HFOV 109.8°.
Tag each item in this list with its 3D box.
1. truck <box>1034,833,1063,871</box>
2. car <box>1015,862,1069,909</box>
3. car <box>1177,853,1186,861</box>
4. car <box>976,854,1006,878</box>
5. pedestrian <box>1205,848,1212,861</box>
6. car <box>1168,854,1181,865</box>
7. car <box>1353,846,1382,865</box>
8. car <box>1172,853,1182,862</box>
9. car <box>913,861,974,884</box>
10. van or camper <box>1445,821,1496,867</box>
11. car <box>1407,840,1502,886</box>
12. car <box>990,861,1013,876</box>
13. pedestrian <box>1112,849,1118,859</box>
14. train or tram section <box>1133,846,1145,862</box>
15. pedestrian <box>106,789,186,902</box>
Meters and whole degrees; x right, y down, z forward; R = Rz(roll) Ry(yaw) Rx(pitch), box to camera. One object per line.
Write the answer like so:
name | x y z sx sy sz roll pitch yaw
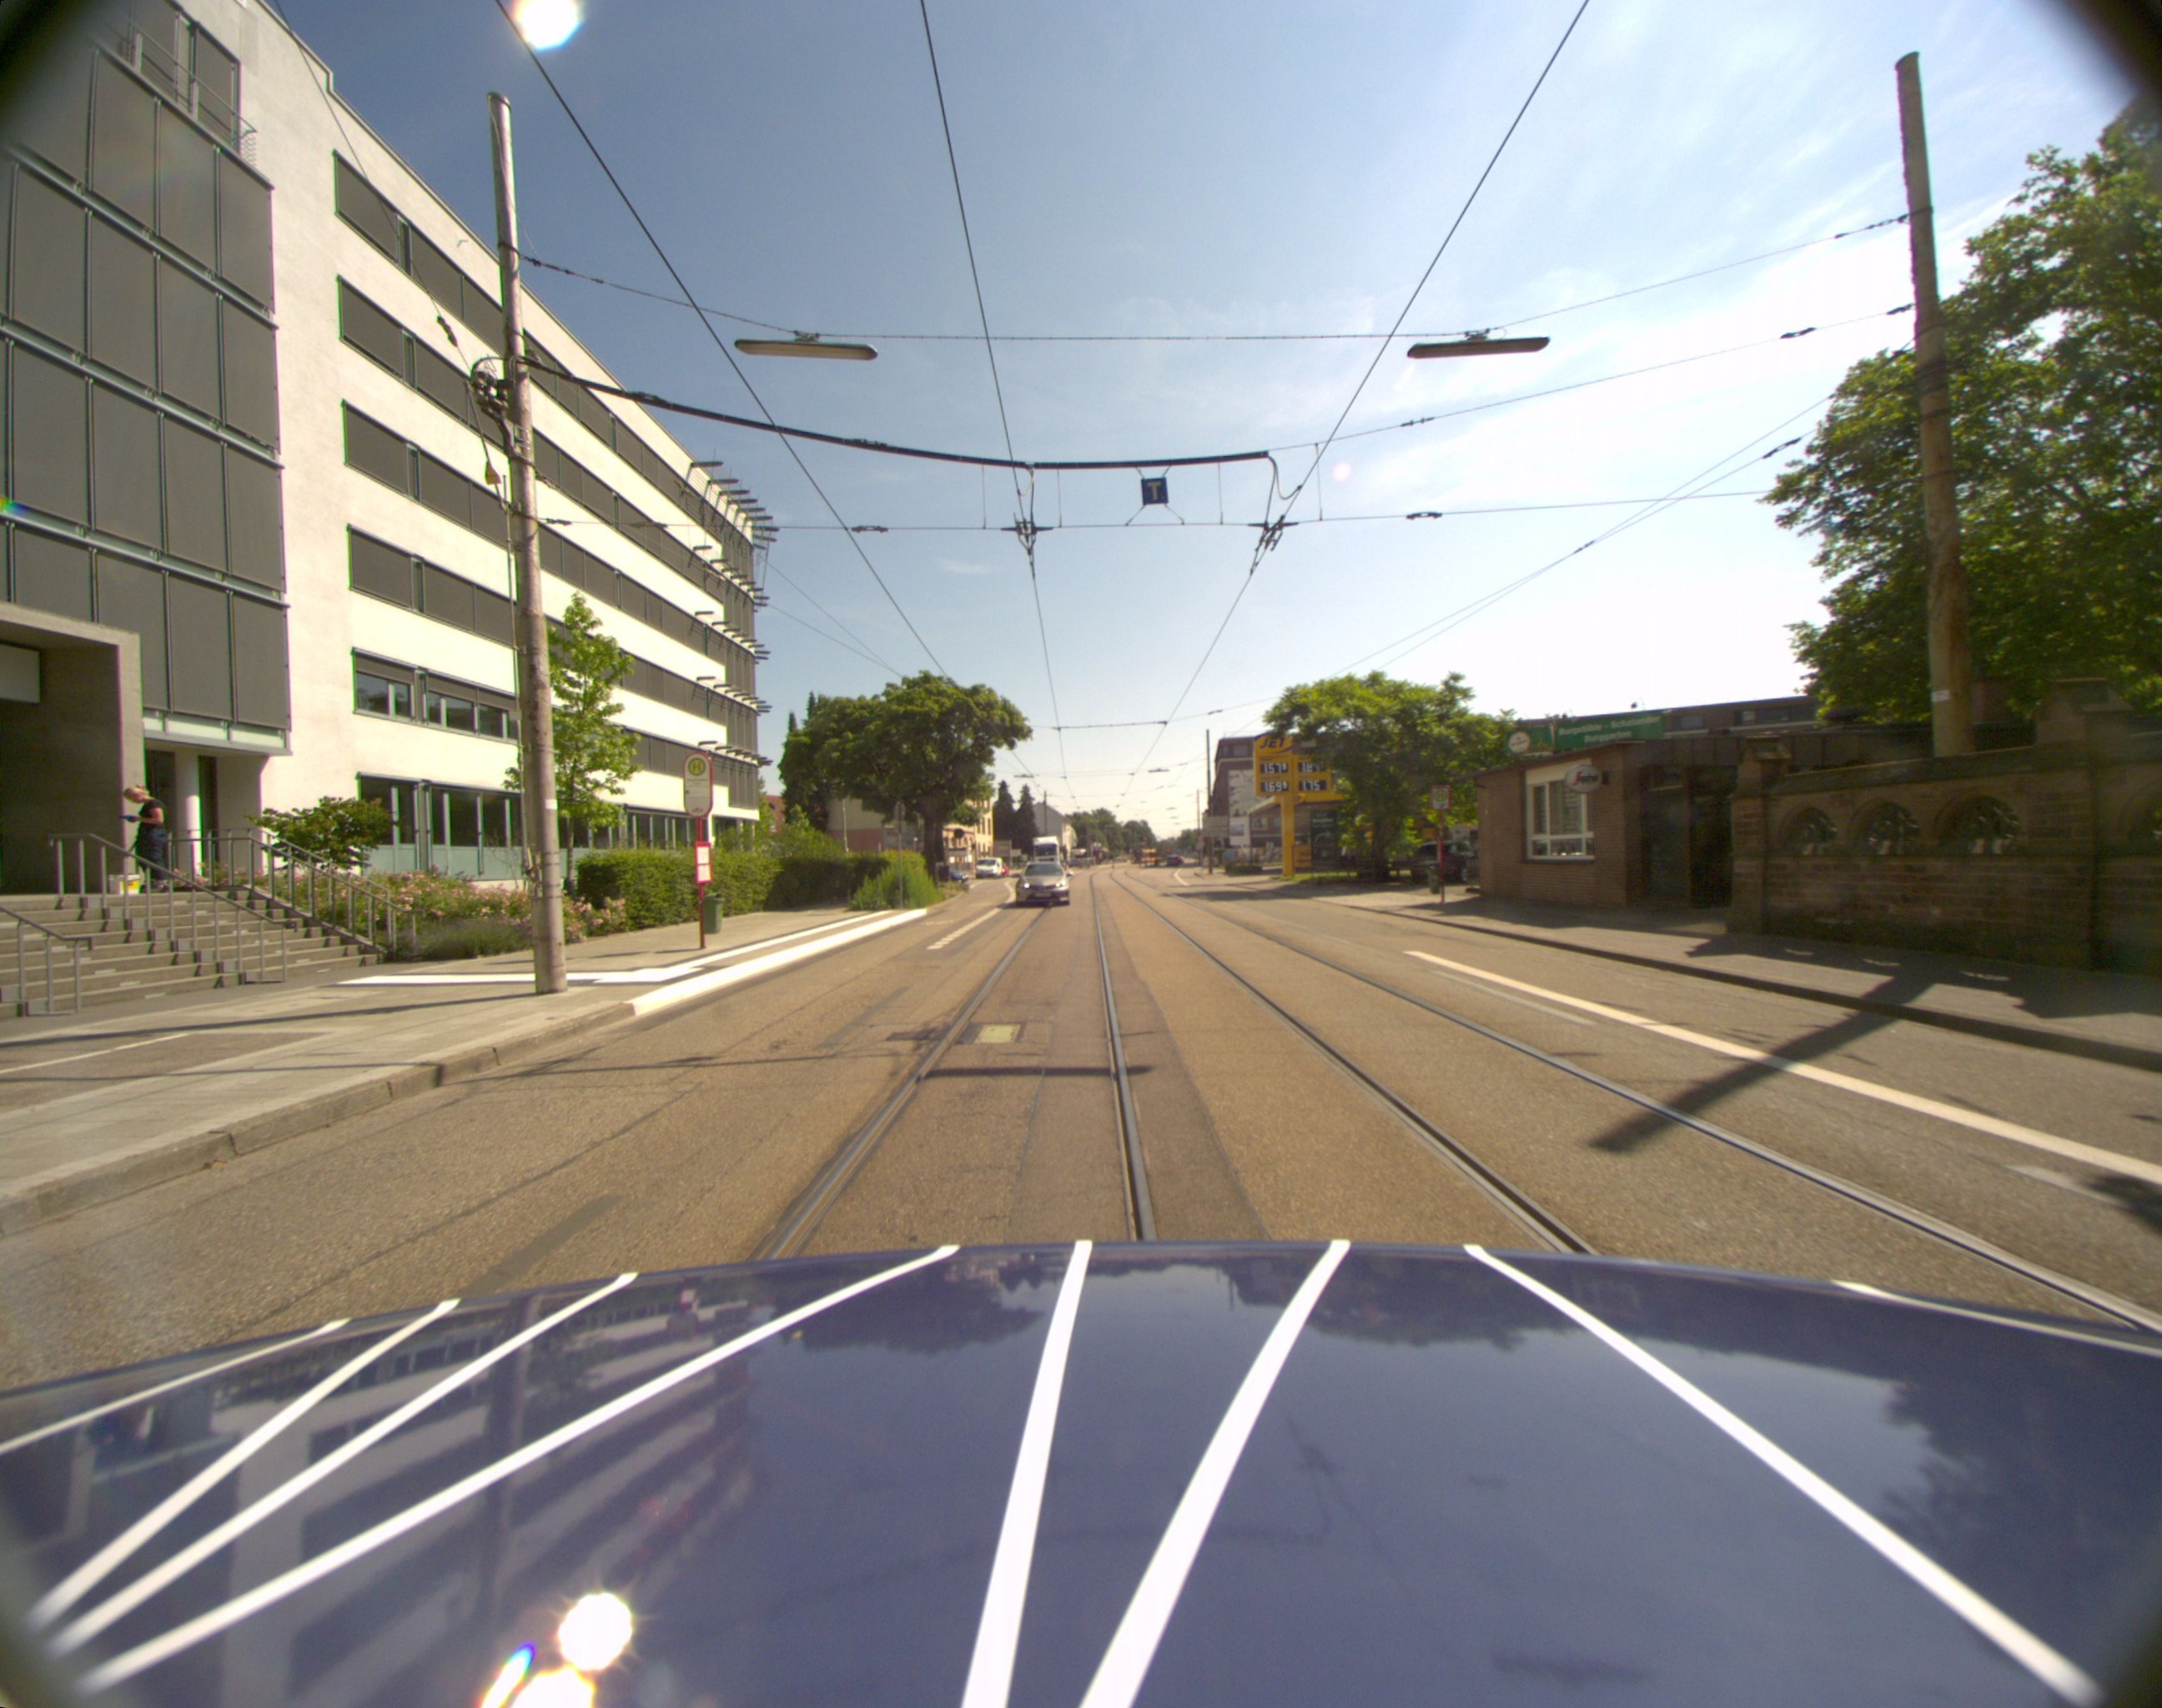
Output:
truck | -3.303 -0.178 79.288 2.657 3.772 7.863 -2 0 0
car | -1.270 1.018 26.092 1.695 1.440 4.480 0 0 -1
car | 20.863 0.596 157.190 1.715 1.613 3.581 -3 0 9
car | -8.039 1.043 68.372 1.981 2.043 5.191 0 0 2
pedestrian | 18.401 0.070 109.543 0.846 1.808 0.839 -2 0 9
car | 14.019 0.860 113.982 1.750 1.562 3.892 -1 1 5
car | 22.995 0.093 60.857 1.698 1.295 4.397 -4 0 26
car | 18.111 0.675 143.054 1.804 1.718 4.192 -3 -1 9
car | -9.356 1.263 51.819 3.754 1.380 1.671 -2 0 1
van or camper | 28.342 -0.790 55.500 2.611 2.950 6.722 -5 0 23
car | 14.856 0.332 30.113 4.587 1.615 1.944 -2 0 -45
car | -7.776 1.411 74.939 1.726 1.434 4.312 0 0 1
pedestrian | 6.730 0.016 150.127 0.982 1.847 1.238 -2 0 8
train or tram section | 13.843 -0.039 180.117 2.685 3.460 13.343 -2 0 5
pedestrian | -14.631 -0.133 11.901 0.500 1.718 0.547 -2 1 0
